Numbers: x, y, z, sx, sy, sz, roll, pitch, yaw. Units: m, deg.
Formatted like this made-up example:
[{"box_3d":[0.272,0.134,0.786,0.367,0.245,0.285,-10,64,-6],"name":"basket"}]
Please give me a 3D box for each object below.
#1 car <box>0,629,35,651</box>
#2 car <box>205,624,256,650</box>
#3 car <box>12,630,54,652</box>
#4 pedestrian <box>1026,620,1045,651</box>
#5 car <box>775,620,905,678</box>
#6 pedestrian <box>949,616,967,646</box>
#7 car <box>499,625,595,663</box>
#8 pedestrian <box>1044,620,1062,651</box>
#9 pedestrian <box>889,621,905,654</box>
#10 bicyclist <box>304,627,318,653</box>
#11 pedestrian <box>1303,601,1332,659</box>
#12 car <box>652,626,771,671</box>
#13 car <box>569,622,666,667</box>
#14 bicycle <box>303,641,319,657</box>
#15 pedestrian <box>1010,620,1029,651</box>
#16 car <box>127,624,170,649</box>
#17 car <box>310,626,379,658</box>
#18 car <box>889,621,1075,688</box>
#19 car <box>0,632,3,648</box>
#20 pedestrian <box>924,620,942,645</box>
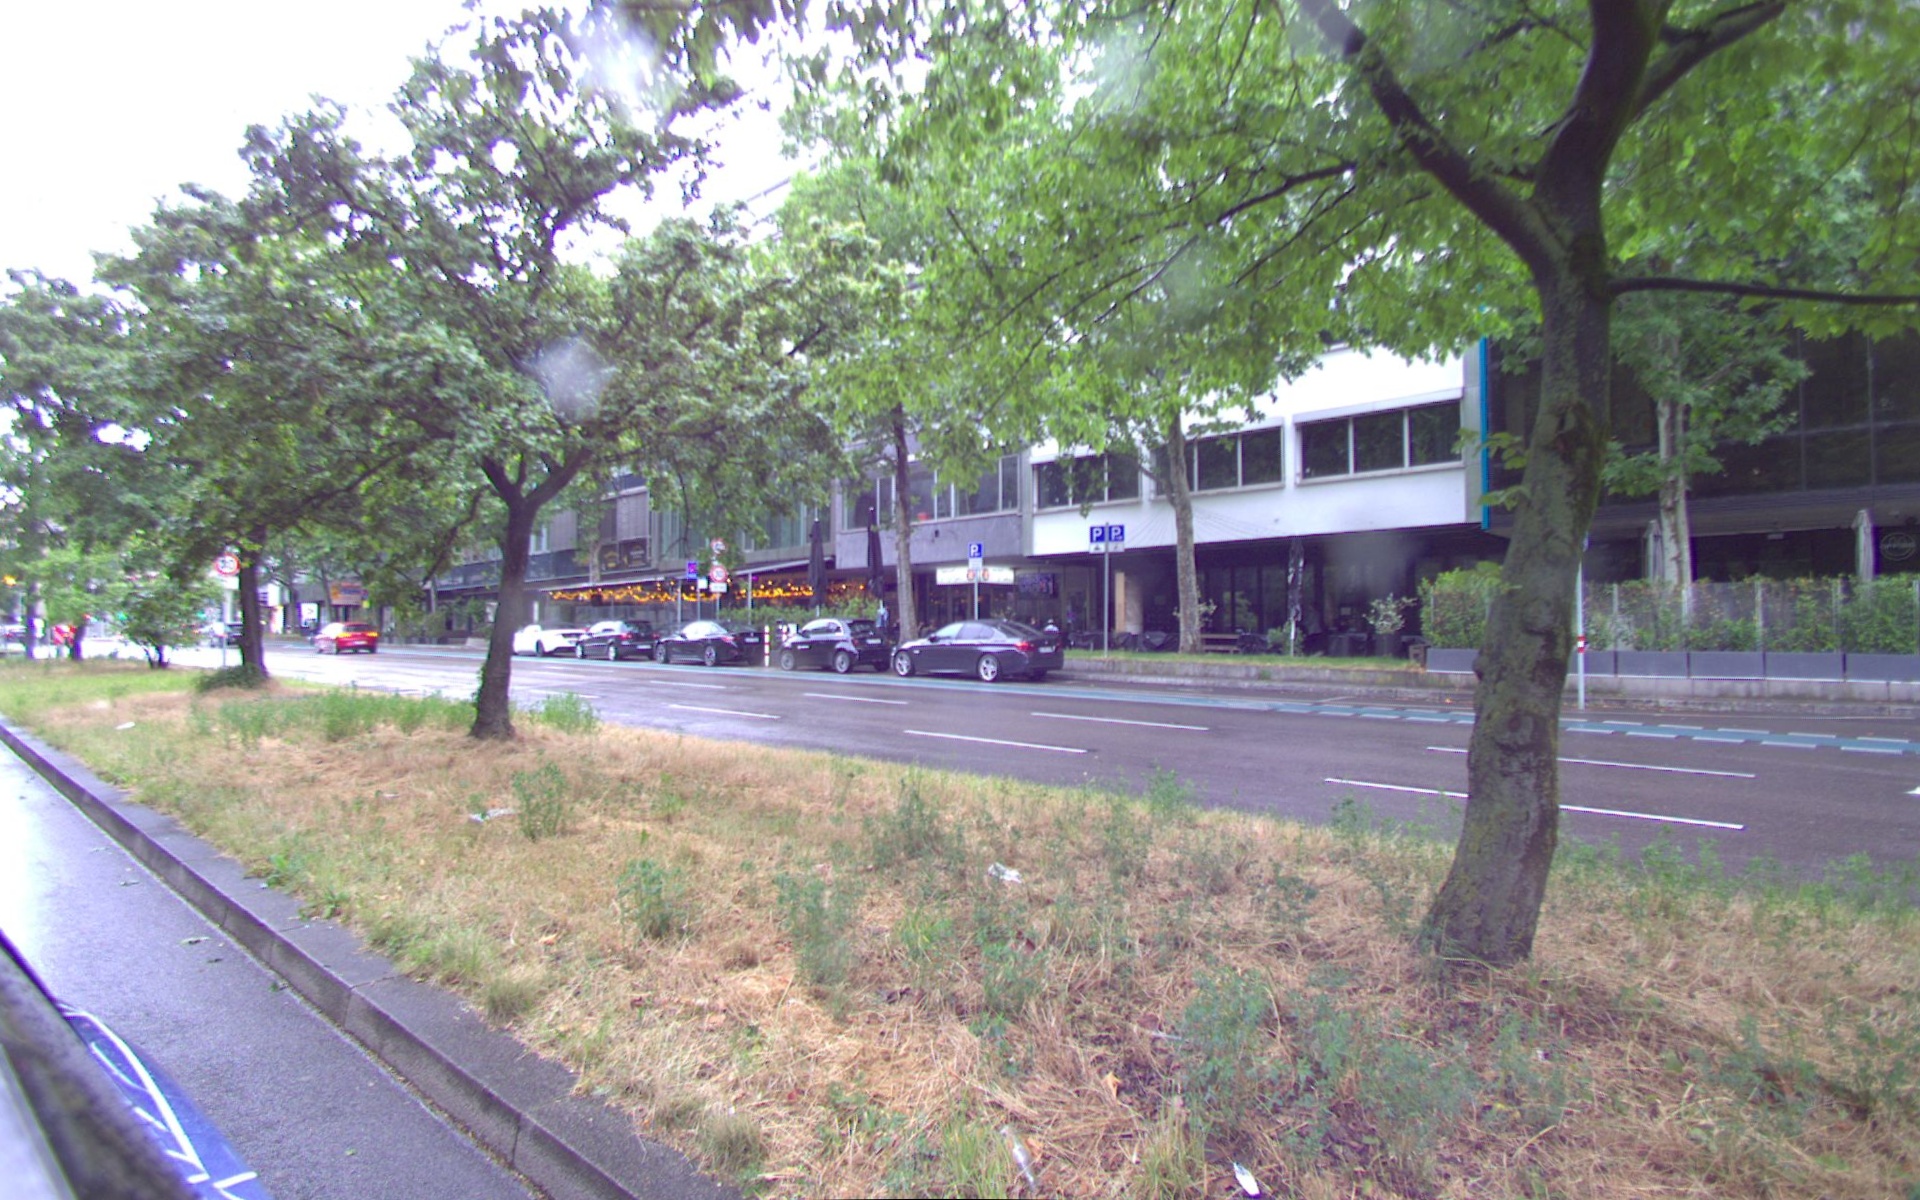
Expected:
[{"box_3d":[-75.170,3.145,80.648,3.820,1.588,1.856,0,0,44],"name":"car"},{"box_3d":[-44.477,2.215,61.692,4.106,1.427,1.843,0,0,44],"name":"car"},{"box_3d":[-65.102,2.864,71.065,3.524,1.400,1.657,-1,0,39],"name":"car"},{"box_3d":[2.473,1.151,33.239,0.488,1.008,0.481,-1,0,26],"name":"pedestrian"},{"box_3d":[-3.375,1.314,28.266,3.400,1.433,1.851,-1,0,42],"name":"car"},{"box_3d":[-0.056,1.074,35.427,0.423,1.024,0.459,-1,0,39],"name":"pedestrian"},{"box_3d":[-16.553,1.732,40.449,4.392,1.336,1.856,0,0,42],"name":"car"},{"box_3d":[3.013,1.153,32.917,0.451,0.970,0.454,-1,0,26],"name":"pedestrian"},{"box_3d":[-2.335,1.386,37.343,0.459,1.195,0.447,-1,0,-25],"name":"pedestrian"},{"box_3d":[-39.711,2.429,61.927,0.704,1.582,0.611,-1,0,-36],"name":"bicyclist"},{"box_3d":[10.374,0.850,29.356,0.623,1.660,0.598,-1,0,37],"name":"pedestrian"},{"box_3d":[-8.024,1.505,32.448,4.319,1.249,1.625,0,0,44],"name":"car"},{"box_3d":[-12.395,1.551,36.551,3.788,1.464,1.727,-1,0,42],"name":"car"},{"box_3d":[-39.708,3.003,61.926,0.704,0.849,2.237,-1,0,-35],"name":"bicycle"},{"box_3d":[1.966,1.164,33.494,0.461,1.000,0.455,-1,0,26],"name":"pedestrian"},{"box_3d":[-64.294,2.844,80.176,3.997,1.829,1.973,-1,0,41],"name":"car"},{"box_3d":[-28.565,1.934,46.942,3.737,1.335,1.742,0,0,42],"name":"car"},{"box_3d":[0.451,1.259,24.740,1.849,1.396,4.539,-1,0,-45],"name":"car"},{"box_3d":[-83.679,3.426,86.921,3.524,1.400,1.657,-1,0,39],"name":"car"},{"box_3d":[-0.973,1.167,36.455,0.433,0.856,0.435,-1,0,39],"name":"pedestrian"}]
